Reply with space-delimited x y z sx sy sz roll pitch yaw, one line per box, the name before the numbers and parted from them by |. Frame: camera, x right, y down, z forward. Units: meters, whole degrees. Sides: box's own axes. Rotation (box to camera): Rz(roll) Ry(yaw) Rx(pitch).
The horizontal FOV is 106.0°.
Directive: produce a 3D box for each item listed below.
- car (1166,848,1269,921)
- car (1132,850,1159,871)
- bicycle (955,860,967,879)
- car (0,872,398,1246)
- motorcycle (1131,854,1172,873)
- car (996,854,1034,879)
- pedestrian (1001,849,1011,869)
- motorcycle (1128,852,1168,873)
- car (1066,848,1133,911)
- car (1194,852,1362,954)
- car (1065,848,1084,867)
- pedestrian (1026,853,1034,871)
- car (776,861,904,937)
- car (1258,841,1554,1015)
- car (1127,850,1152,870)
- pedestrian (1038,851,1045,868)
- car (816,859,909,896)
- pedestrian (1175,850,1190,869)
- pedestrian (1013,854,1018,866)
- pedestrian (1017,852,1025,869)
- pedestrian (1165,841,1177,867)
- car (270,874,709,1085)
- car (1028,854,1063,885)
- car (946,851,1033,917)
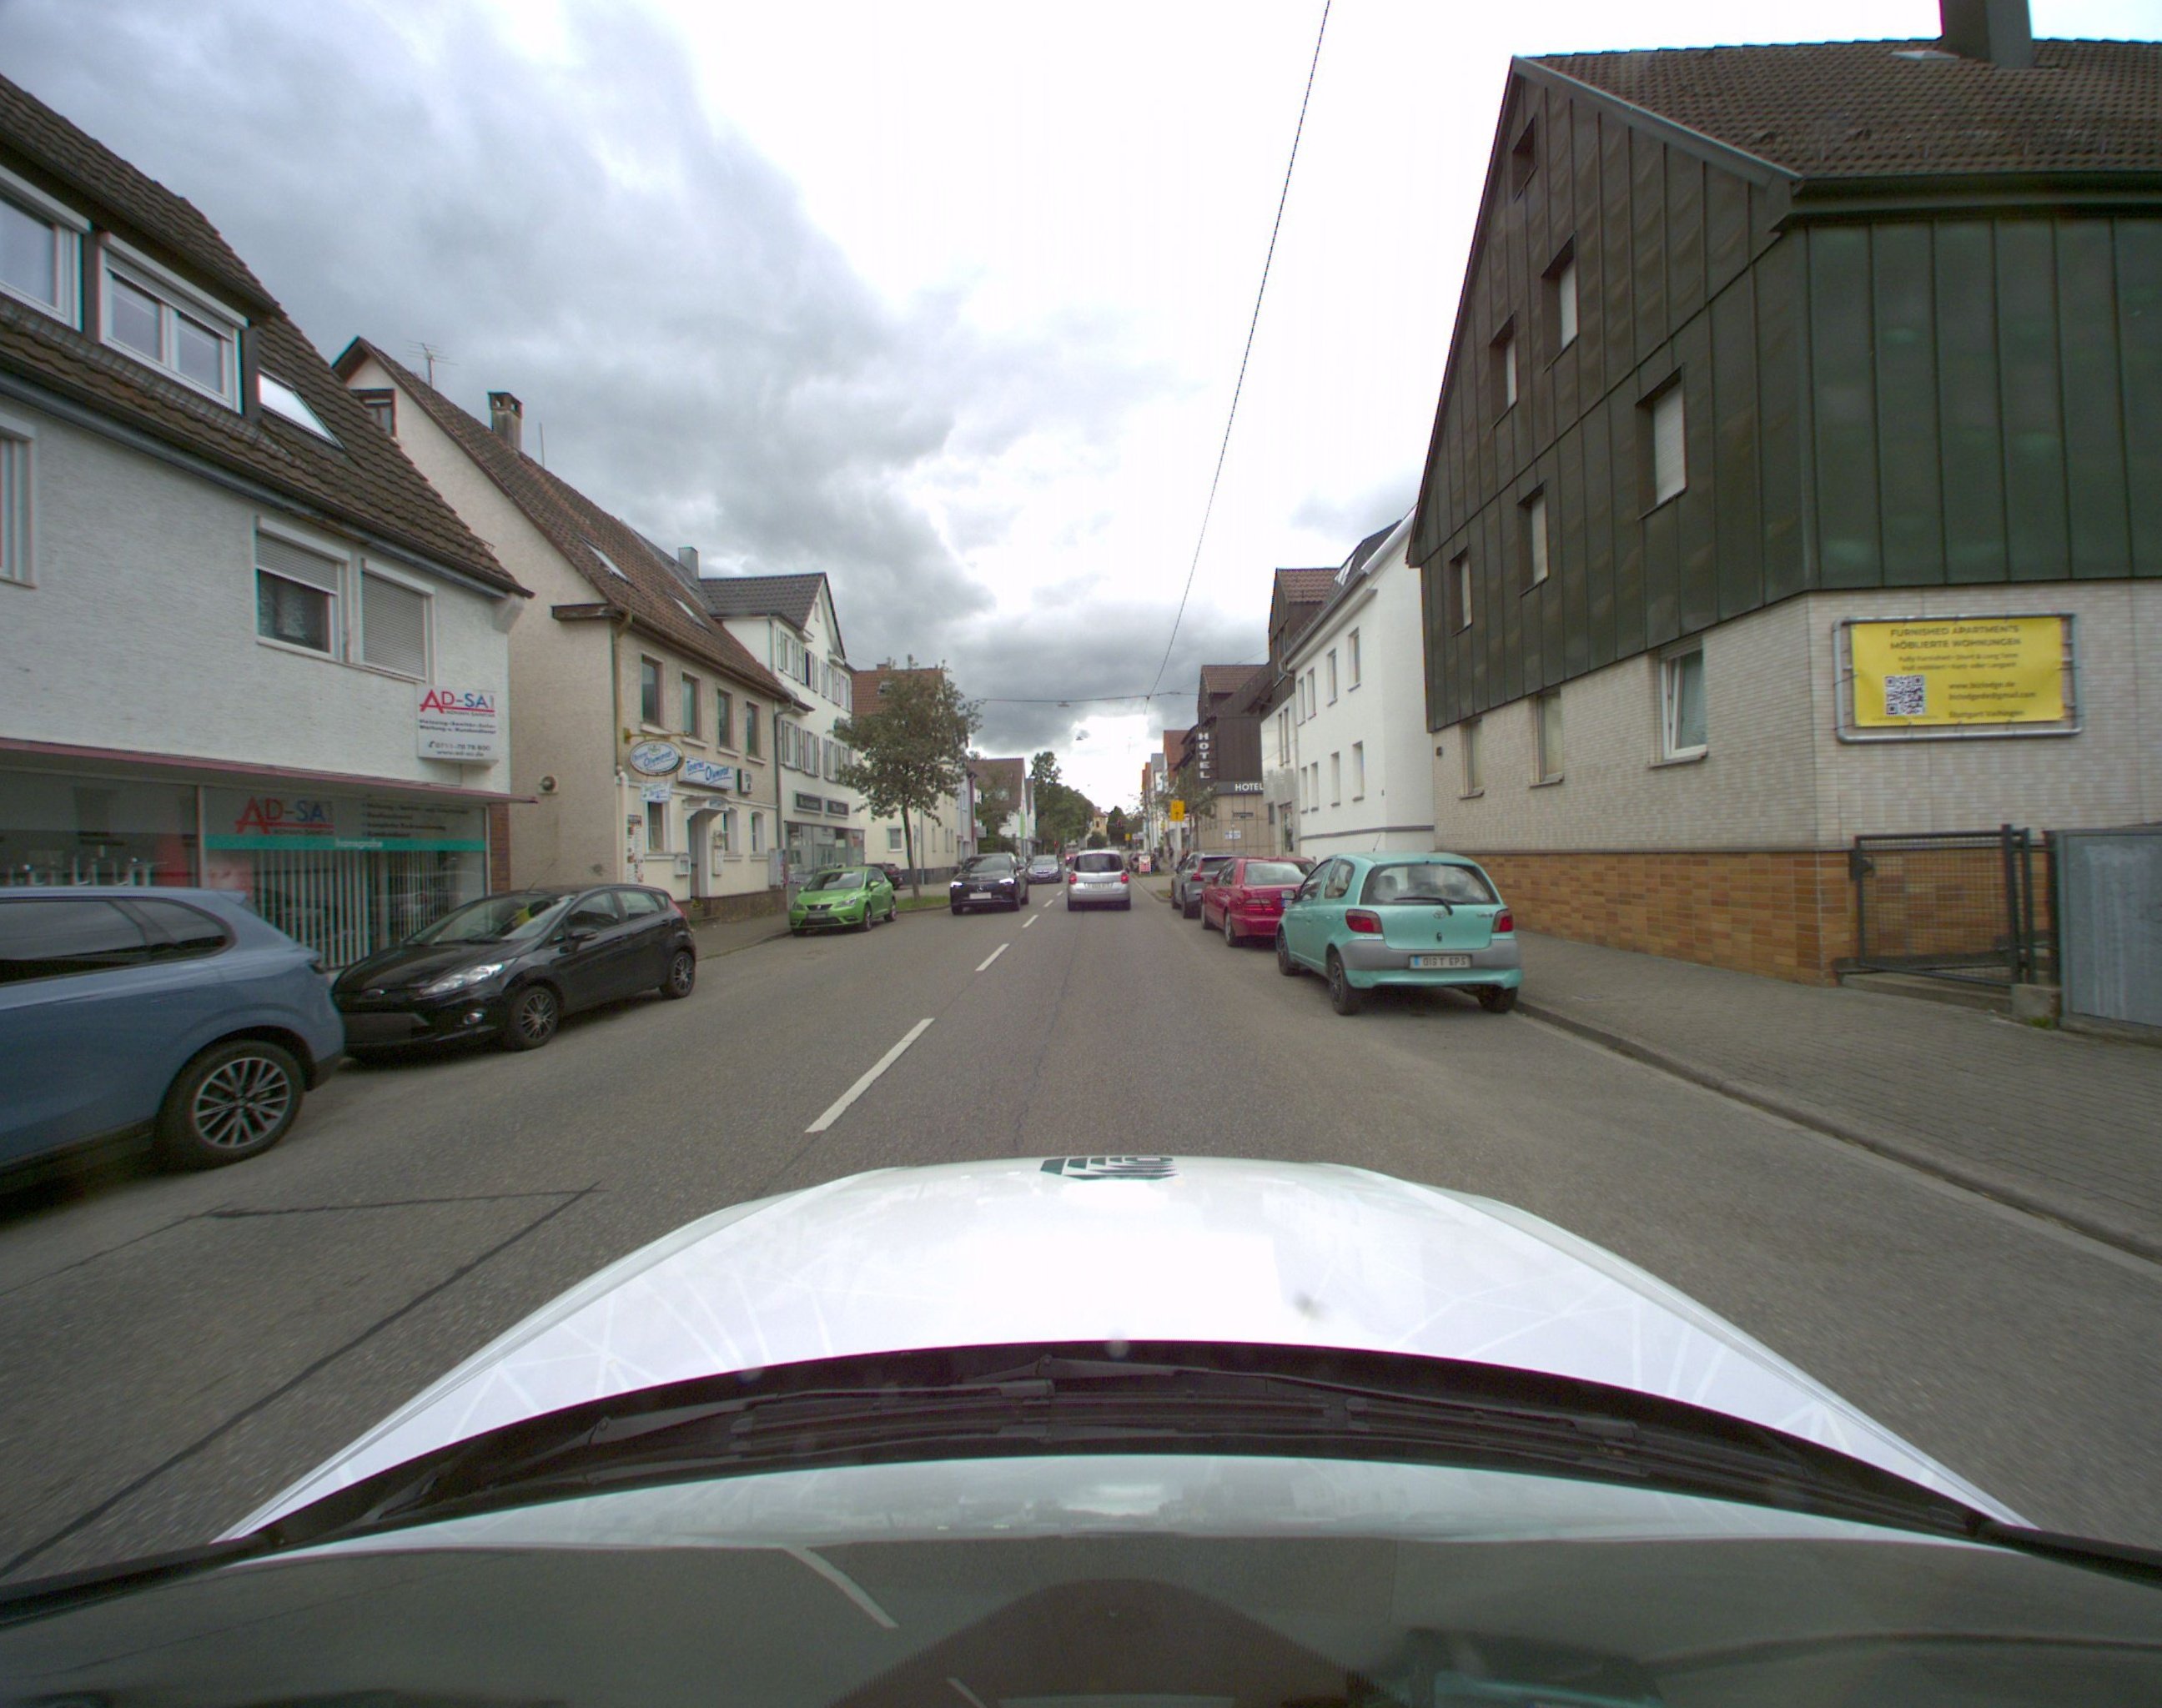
car | 3.152 0.655 19.632 1.868 1.539 4.515 -1 0 2
car | 4.474 0.447 57.013 1.694 1.429 3.891 -1 0 1
bicycle | -7.479 0.962 50.949 0.513 1.153 1.665 -1 0 -1
car | -5.702 0.980 3.442 1.796 1.599 4.307 -3 0 2
motorcycle | 4.601 0.614 52.815 2.744 1.183 0.693 -1 0 -29
car | -4.368 0.807 54.552 1.941 1.467 4.518 -4 0 2
pedestrian | -6.836 0.488 74.304 0.760 1.791 0.890 -1 0 1
motorcycle | 4.454 0.541 53.863 2.723 1.336 0.693 -1 0 -29
car | 0.537 0.648 22.580 1.676 1.566 3.995 -1 0 2
car | 3.141 0.697 13.908 1.750 1.445 4.453 -1 0 -1
car | -0.680 0.391 90.740 1.945 2.013 4.001 -1 0 1
pedestrian | -5.357 0.885 85.583 0.759 1.876 0.696 -1 0 1
car | -5.490 0.965 19.092 1.677 1.447 4.020 -3 0 1
car | 3.254 0.644 9.066 1.824 1.497 3.995 -1 0 2
car | 4.415 0.443 61.828 1.694 1.467 4.239 -1 0 1
pedestrian | -4.532 0.613 94.221 0.714 1.876 0.696 -1 0 1
car | -10.724 1.132 40.164 3.976 1.534 1.734 -4 0 -2
pedestrian | 7.309 0.401 58.713 0.884 1.300 0.967 -6 0 2
pedestrian | -6.994 0.615 87.187 0.490 1.278 0.588 -1 0 1
pedestrian | -6.305 0.660 85.570 0.714 1.756 0.696 -1 0 1
pedestrian | 6.791 -0.004 61.573 0.853 1.928 0.900 -1 0 1
car | -5.625 1.054 8.443 1.575 1.508 3.814 -4 0 2
car | -1.821 0.763 42.758 1.677 1.447 4.018 -3 0 -1
car | -2.496 0.773 23.205 1.788 1.578 4.194 -4 0 2
